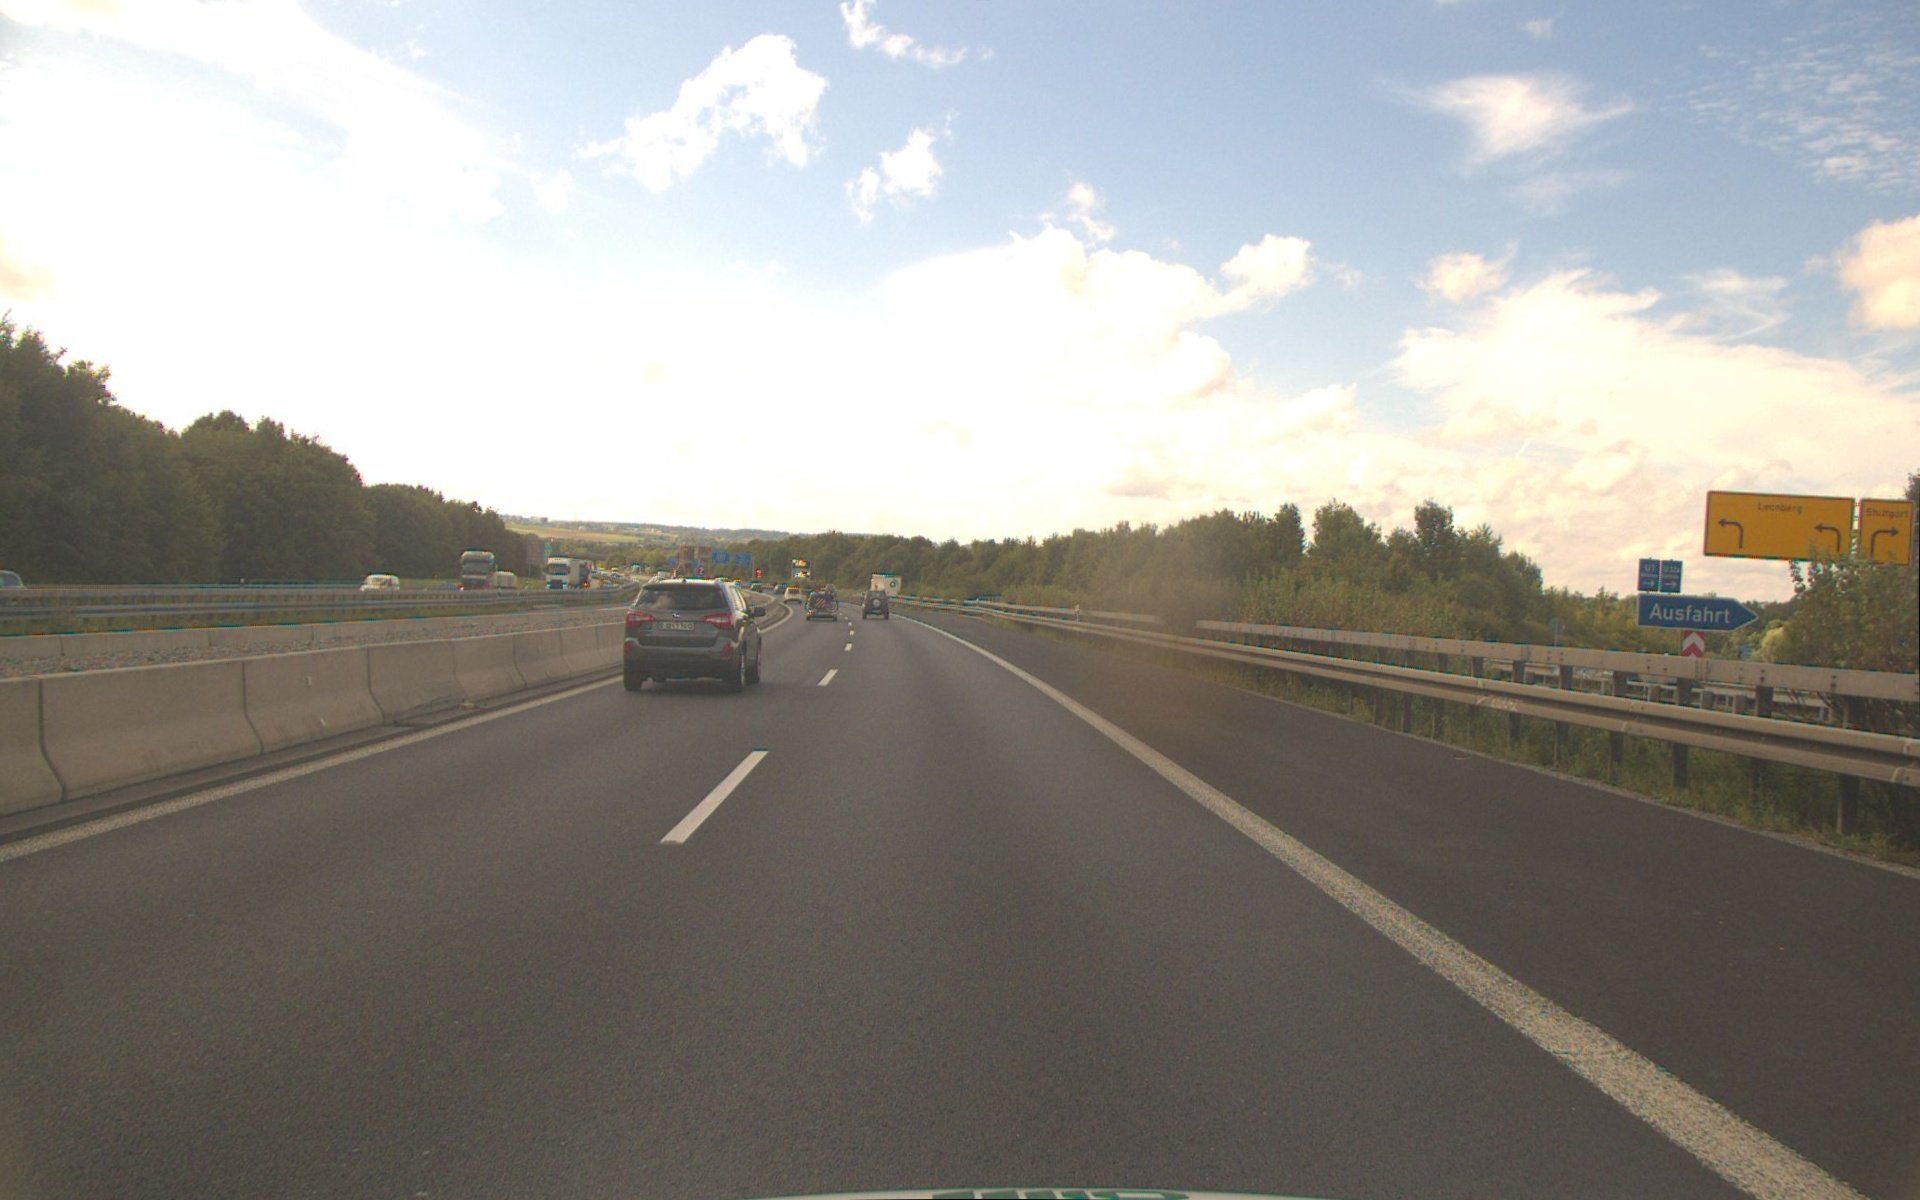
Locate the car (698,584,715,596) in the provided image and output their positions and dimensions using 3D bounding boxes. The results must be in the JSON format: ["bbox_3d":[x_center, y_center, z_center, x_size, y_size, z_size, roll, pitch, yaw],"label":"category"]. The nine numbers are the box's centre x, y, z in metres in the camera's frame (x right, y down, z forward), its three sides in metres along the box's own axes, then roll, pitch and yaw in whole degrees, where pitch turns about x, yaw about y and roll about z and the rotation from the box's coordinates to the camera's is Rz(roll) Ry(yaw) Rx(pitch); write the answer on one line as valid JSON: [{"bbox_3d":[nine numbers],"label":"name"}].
[{"bbox_3d":[-32.529,-1.284,212.051,1.838,1.473,5.116,1,-1,-5],"label":"car"}]

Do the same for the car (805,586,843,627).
[{"bbox_3d":[-7.620,0.337,92.745,1.990,2.189,3.997,1,0,-3],"label":"car"}]

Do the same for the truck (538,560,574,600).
[{"bbox_3d":[-46.694,-2.322,191.306,3.259,4.368,6.734,1,-1,-9],"label":"truck"}]

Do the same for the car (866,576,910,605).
[{"bbox_3d":[-11.438,-1.403,260.220,4.649,4.341,11.360,1,-1,-14],"label":"car"}]

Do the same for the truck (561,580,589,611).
[{"bbox_3d":[-52.719,-0.542,226.909,2.848,4.038,10.442,1,-1,-9],"label":"truck"}]

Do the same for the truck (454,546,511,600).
[{"bbox_3d":[-36.197,-2.025,125.562,2.755,3.893,7.121,1,0,-6],"label":"truck"}]

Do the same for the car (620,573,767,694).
[{"bbox_3d":[-4.244,0.503,27.085,1.781,1.766,5.183,1,0,-3],"label":"car"}]

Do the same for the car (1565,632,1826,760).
[{"bbox_3d":[10.817,1.348,24.710,1.748,1.599,4.341,1,0,-3],"label":"car"}]

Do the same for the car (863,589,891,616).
[{"bbox_3d":[-5.085,0.141,101.039,1.556,1.625,4.092,1,0,-5],"label":"car"}]

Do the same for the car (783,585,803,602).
[{"bbox_3d":[-18.528,-0.709,183.062,1.957,1.713,3.991,1,-1,-9],"label":"car"}]

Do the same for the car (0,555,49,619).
[{"bbox_3d":[-31.527,-0.448,53.519,1.953,2.049,3.998,1,0,-2],"label":"car"}]

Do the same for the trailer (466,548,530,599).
[{"bbox_3d":[-36.821,-2.046,132.233,2.758,3.873,12.174,1,0,-6],"label":"trailer"}]

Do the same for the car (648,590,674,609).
[{"bbox_3d":[-25.819,-0.040,142.959,1.679,1.554,4.762,1,-1,-4],"label":"car"}]
